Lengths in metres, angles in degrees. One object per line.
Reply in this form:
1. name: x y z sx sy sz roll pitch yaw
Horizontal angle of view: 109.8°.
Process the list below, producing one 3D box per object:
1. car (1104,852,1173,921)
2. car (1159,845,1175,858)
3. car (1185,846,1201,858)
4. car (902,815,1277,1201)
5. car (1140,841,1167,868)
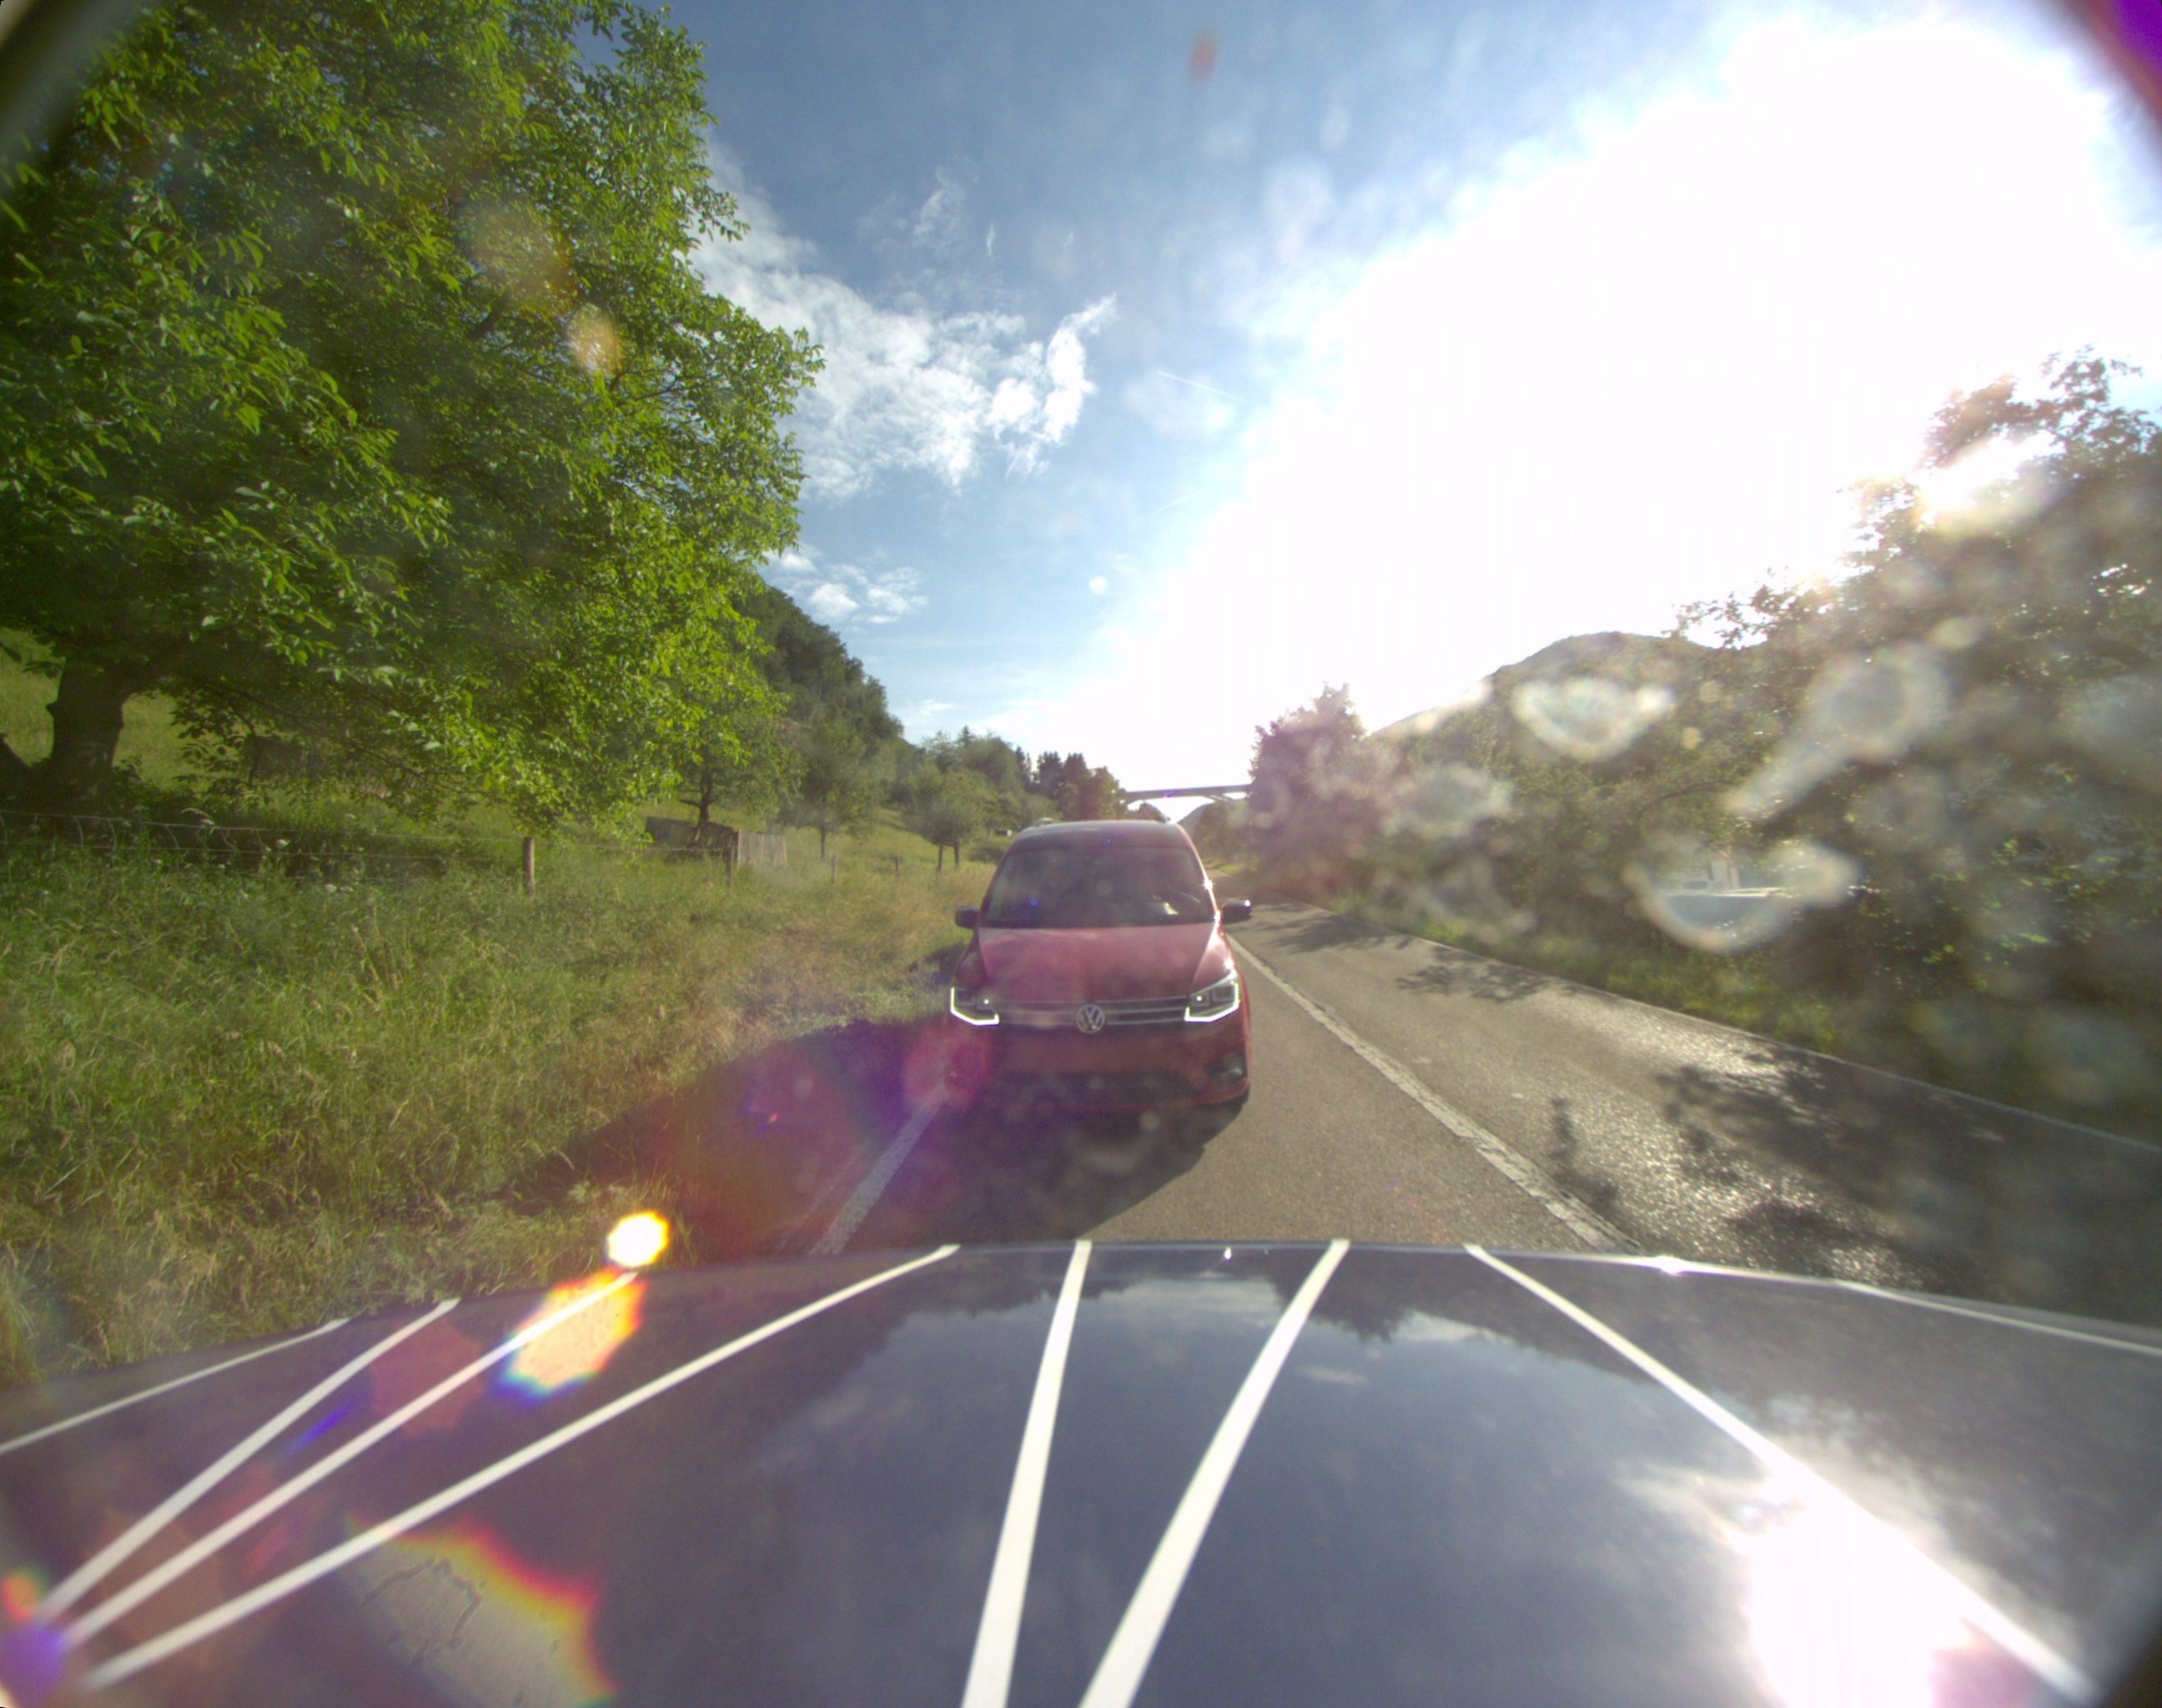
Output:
1. car: 1.434 0.741 19.256 1.571 1.576 3.527 -1 0 4
2. car: 11.190 -0.318 99.207 1.817 1.608 4.003 -1 1 10
3. car: 14.603 -0.277 99.348 1.818 1.608 3.807 -1 1 6
4. car: 0.137 0.756 5.704 1.772 1.855 3.875 -3 1 3
5. car: 5.435 0.024 57.026 1.914 2.002 4.001 0 1 6
